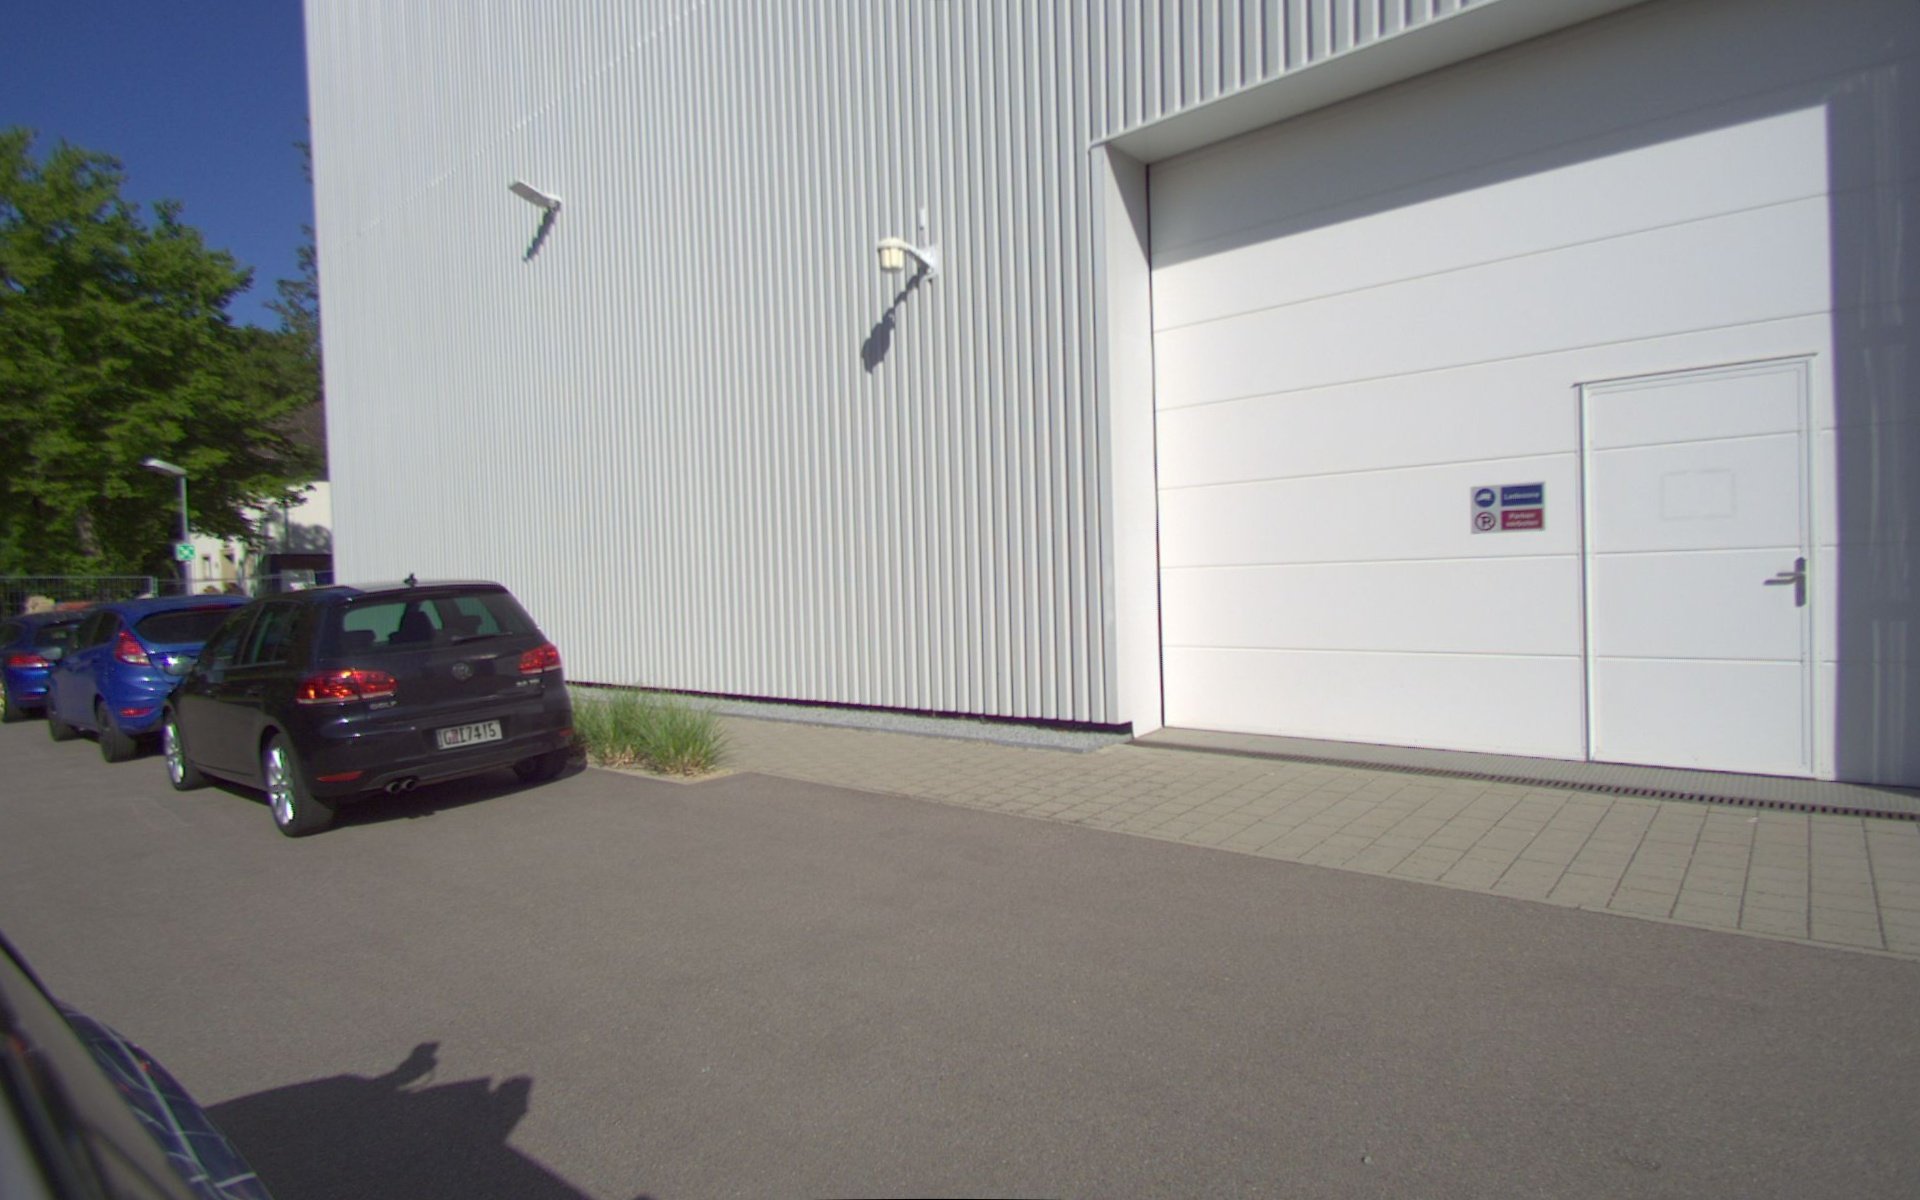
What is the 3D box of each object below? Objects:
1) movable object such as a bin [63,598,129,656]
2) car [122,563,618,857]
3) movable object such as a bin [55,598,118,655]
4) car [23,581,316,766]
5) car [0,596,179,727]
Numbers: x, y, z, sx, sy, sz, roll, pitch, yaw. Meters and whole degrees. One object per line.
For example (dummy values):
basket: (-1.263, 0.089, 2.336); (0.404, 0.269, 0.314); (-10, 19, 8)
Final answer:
movable object such as a bin: (-22.487, 0.686, 26.338); (1.288, 1.445, 1.126); (-1, 0, 41)
car: (-4.480, 0.604, 7.380); (4.312, 1.456, 1.739); (-2, 4, 41)
movable object such as a bin: (-23.511, 0.709, 27.239); (1.279, 1.489, 1.126); (-3, -1, 41)
car: (-8.156, 0.663, 10.353); (3.518, 1.499, 1.533); (-2, 3, 39)
car: (-12.370, 0.775, 13.898); (3.794, 1.459, 1.695); (-2, 3, 39)
